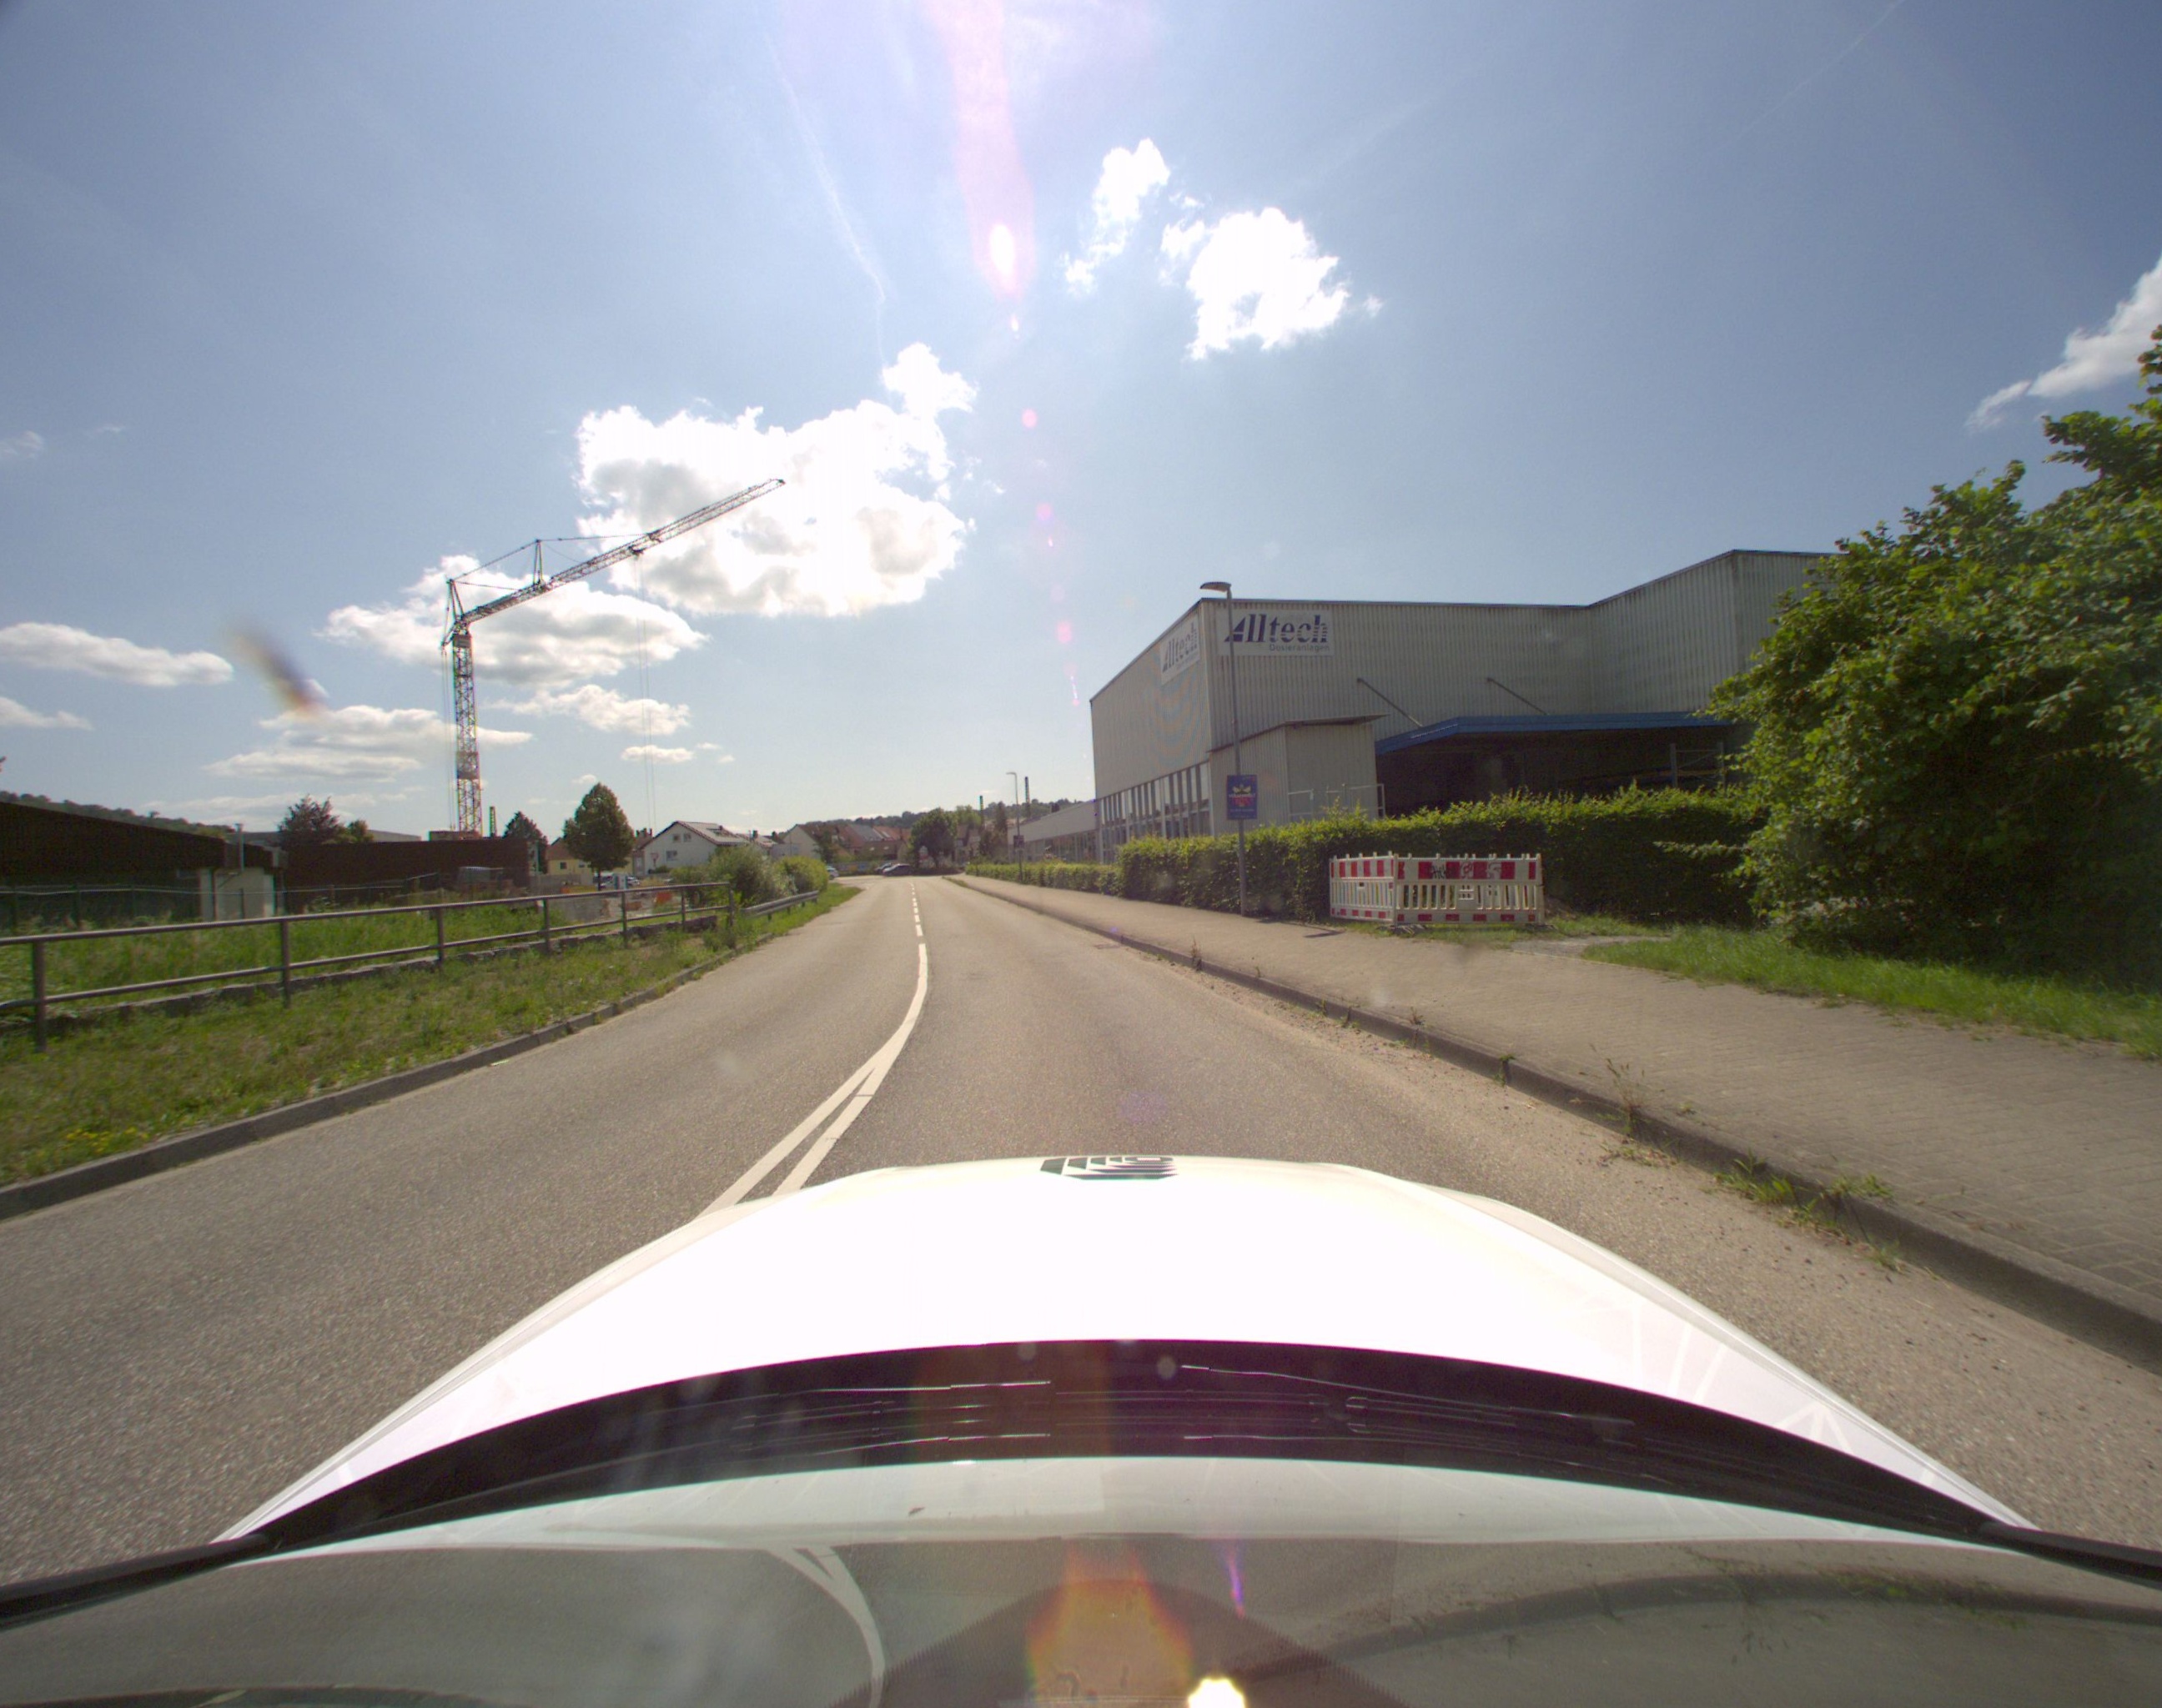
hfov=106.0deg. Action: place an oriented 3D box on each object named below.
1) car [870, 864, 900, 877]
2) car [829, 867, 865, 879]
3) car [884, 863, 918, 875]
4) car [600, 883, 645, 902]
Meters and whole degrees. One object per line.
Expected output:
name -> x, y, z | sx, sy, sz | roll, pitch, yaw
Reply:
car -> -27.829, 2.301, 115.646 | 4.003, 1.730, 1.757 | -1, -1, -22
car -> -30.517, 2.450, 106.013 | 4.303, 1.477, 1.812 | -1, -1, -25
car -> -24.080, 2.026, 108.935 | 4.203, 1.463, 1.653 | -2, -1, -21
car -> -54.819, 4.615, 97.397 | 4.433, 2.013, 1.977 | -3, 0, -38
